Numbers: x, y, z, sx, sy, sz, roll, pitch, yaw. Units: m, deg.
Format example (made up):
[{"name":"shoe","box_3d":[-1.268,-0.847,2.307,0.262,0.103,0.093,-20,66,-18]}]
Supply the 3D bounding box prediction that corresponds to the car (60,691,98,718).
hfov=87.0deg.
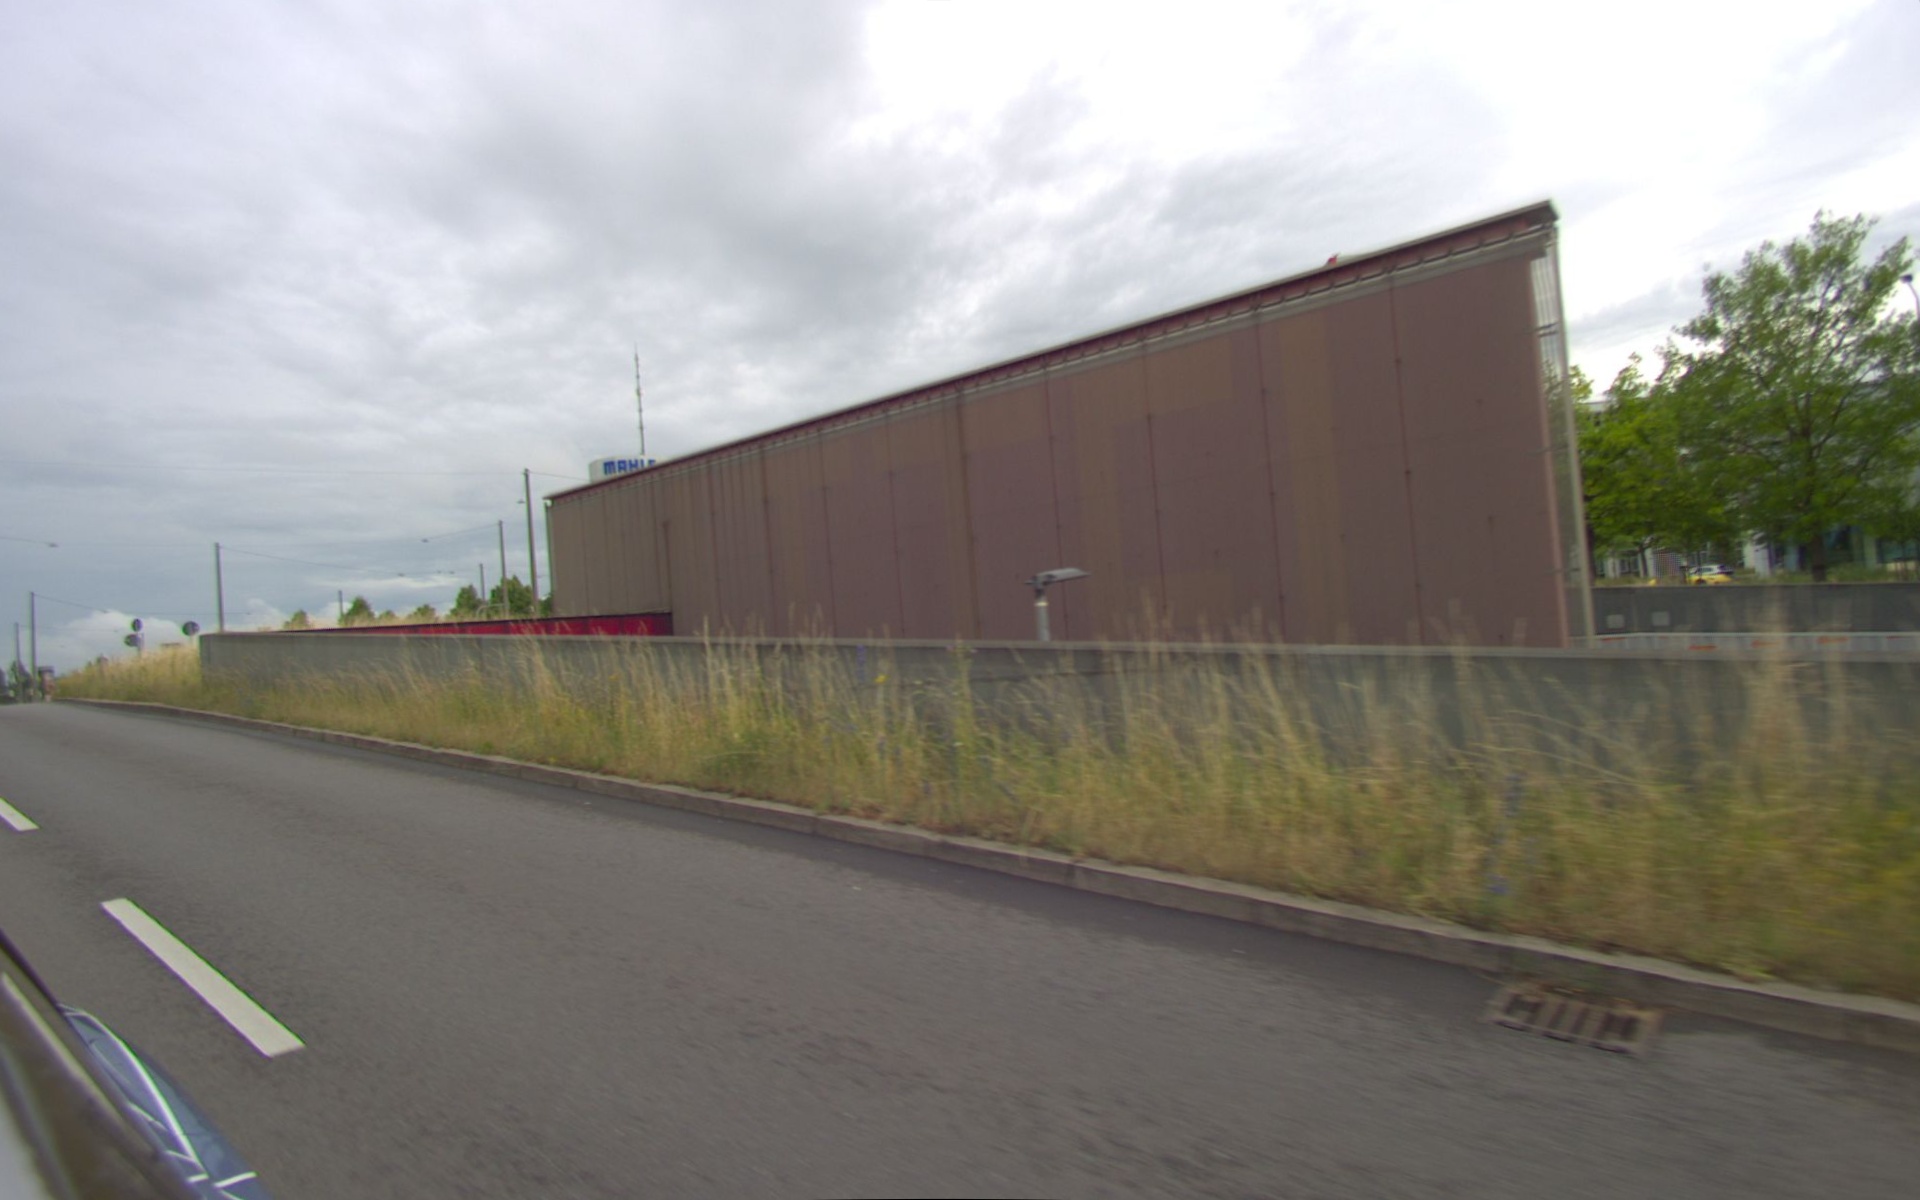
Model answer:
[{"name":"car","box_3d":[-80.804,9.571,92.790,3.998,2.028,1.973,-7,-1,41]}]
